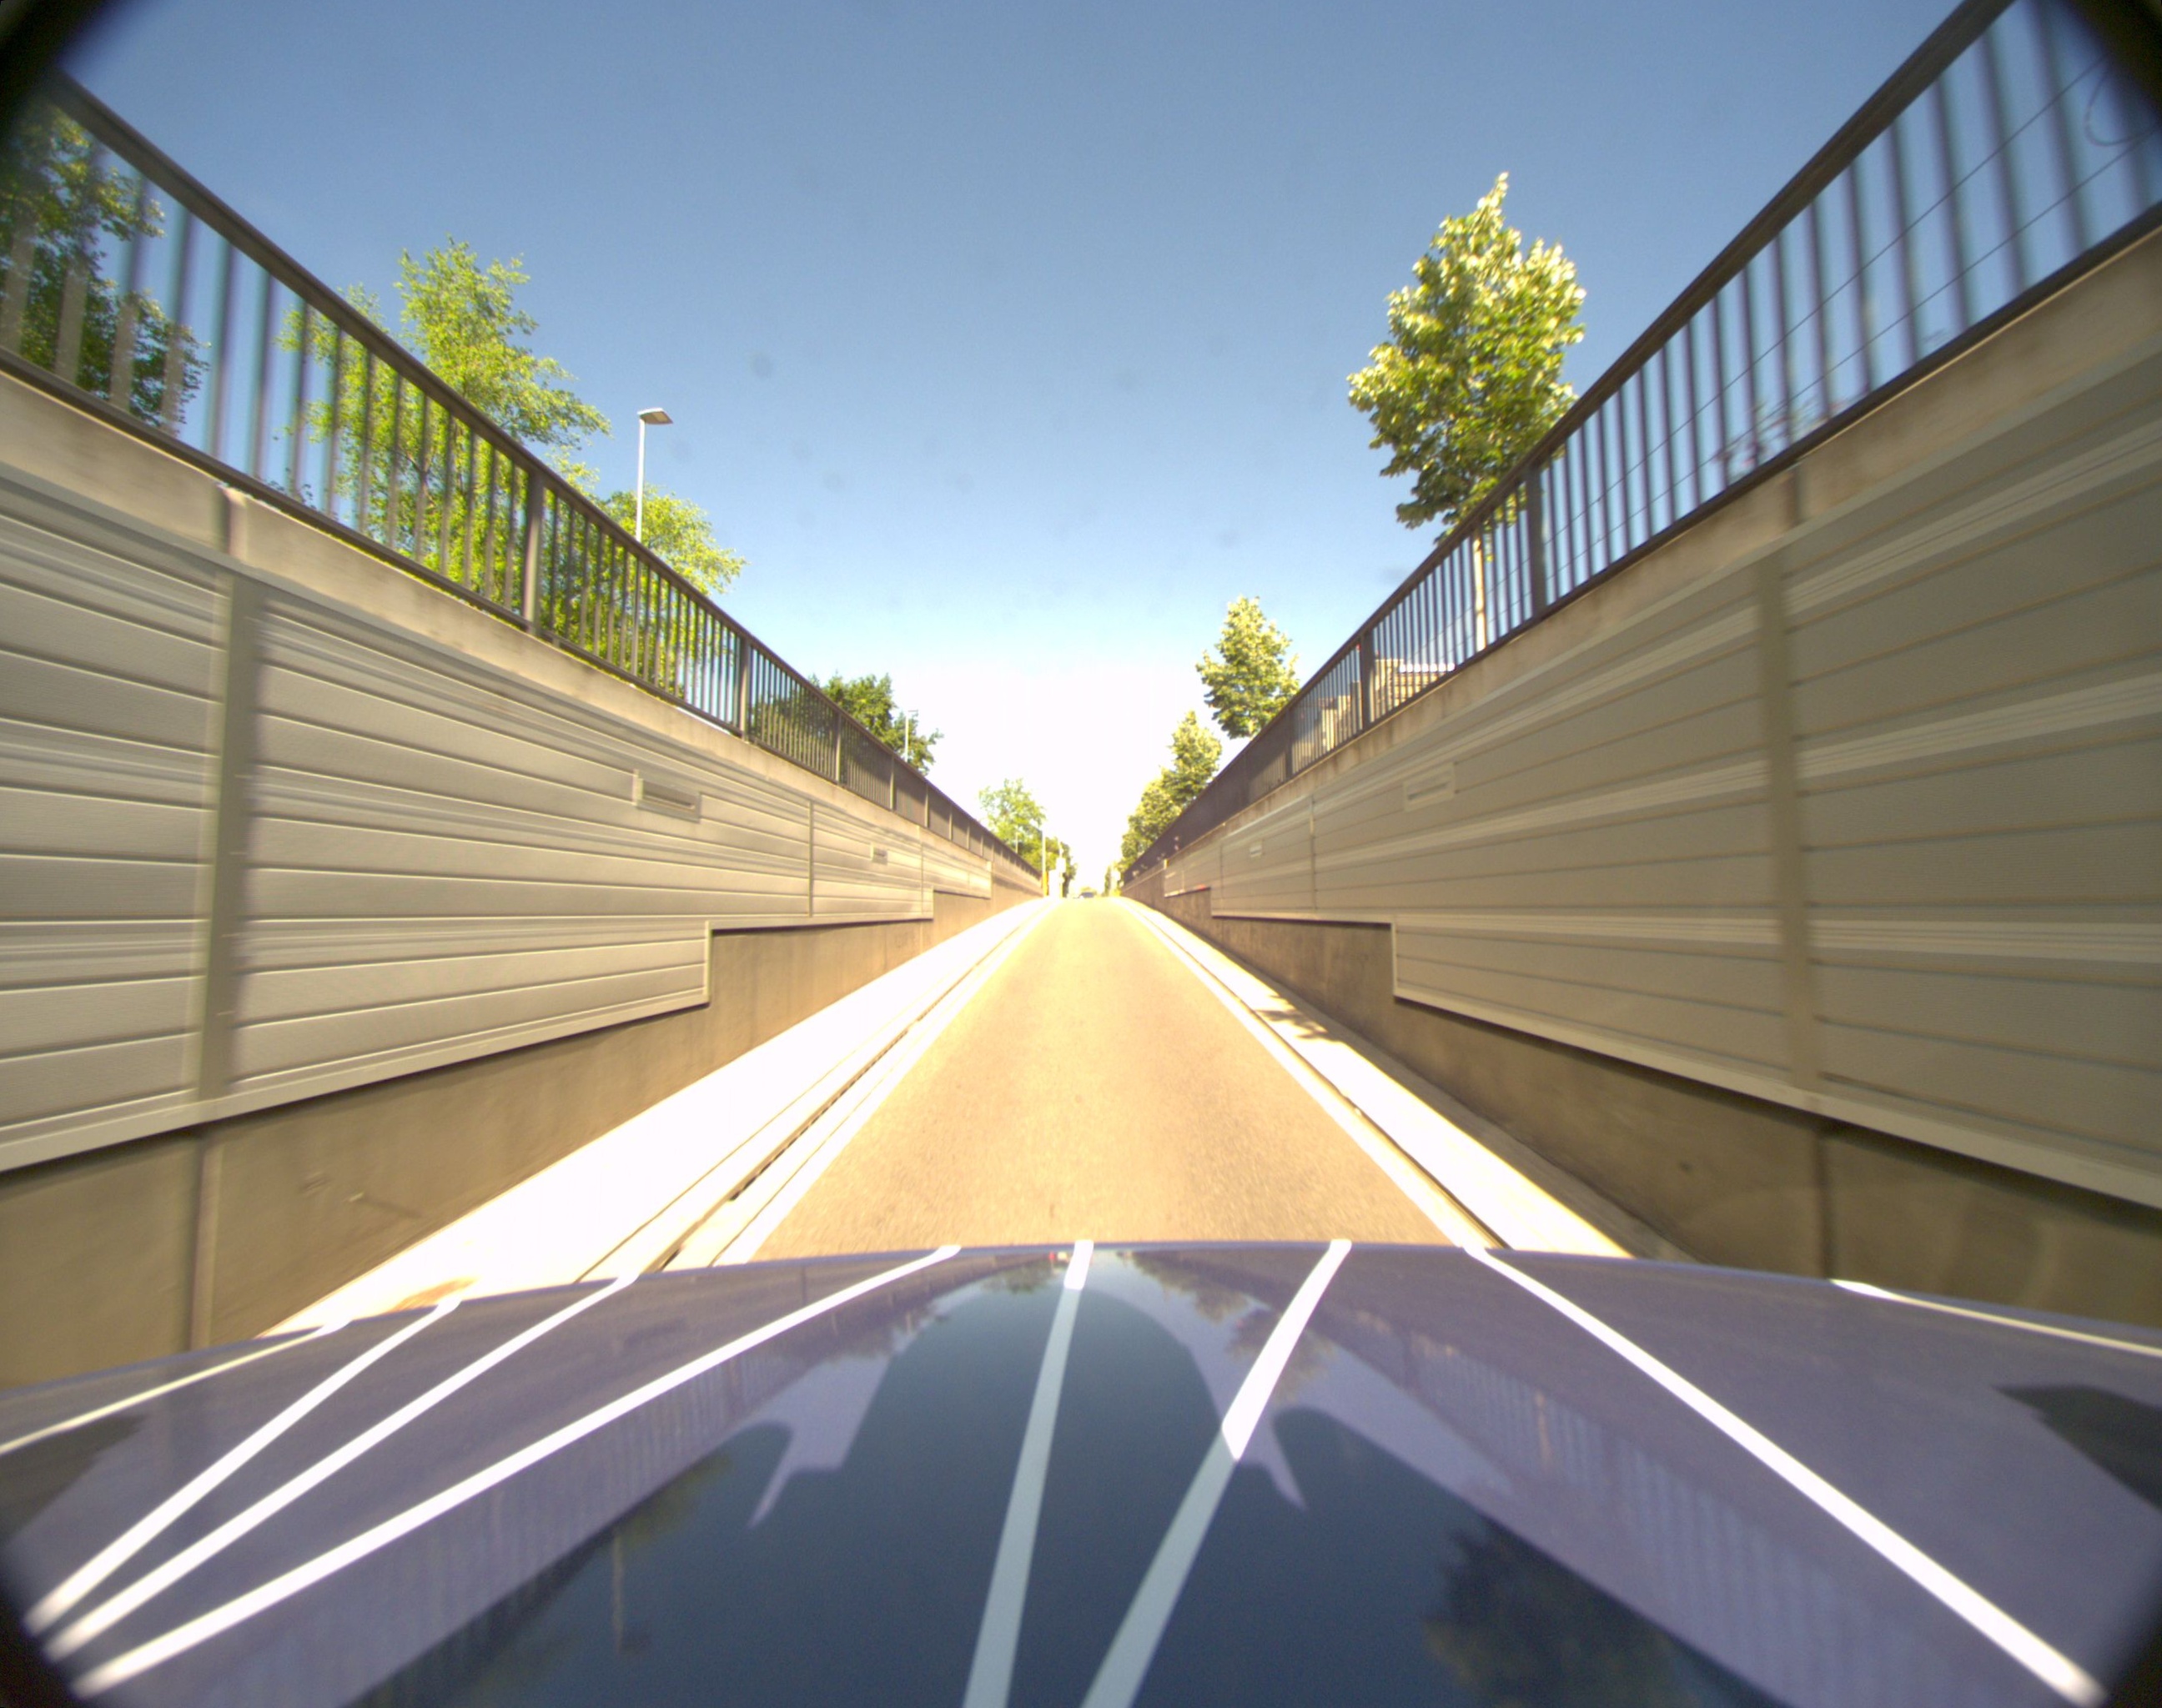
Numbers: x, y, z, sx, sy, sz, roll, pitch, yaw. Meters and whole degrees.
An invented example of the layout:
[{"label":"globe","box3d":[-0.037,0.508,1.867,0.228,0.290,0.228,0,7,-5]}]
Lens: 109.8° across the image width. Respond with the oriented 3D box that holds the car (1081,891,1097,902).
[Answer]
[{"label":"car","box3d":[1.003,5.263,93.861,1.829,1.327,4.003,-1,-4,1]}]
